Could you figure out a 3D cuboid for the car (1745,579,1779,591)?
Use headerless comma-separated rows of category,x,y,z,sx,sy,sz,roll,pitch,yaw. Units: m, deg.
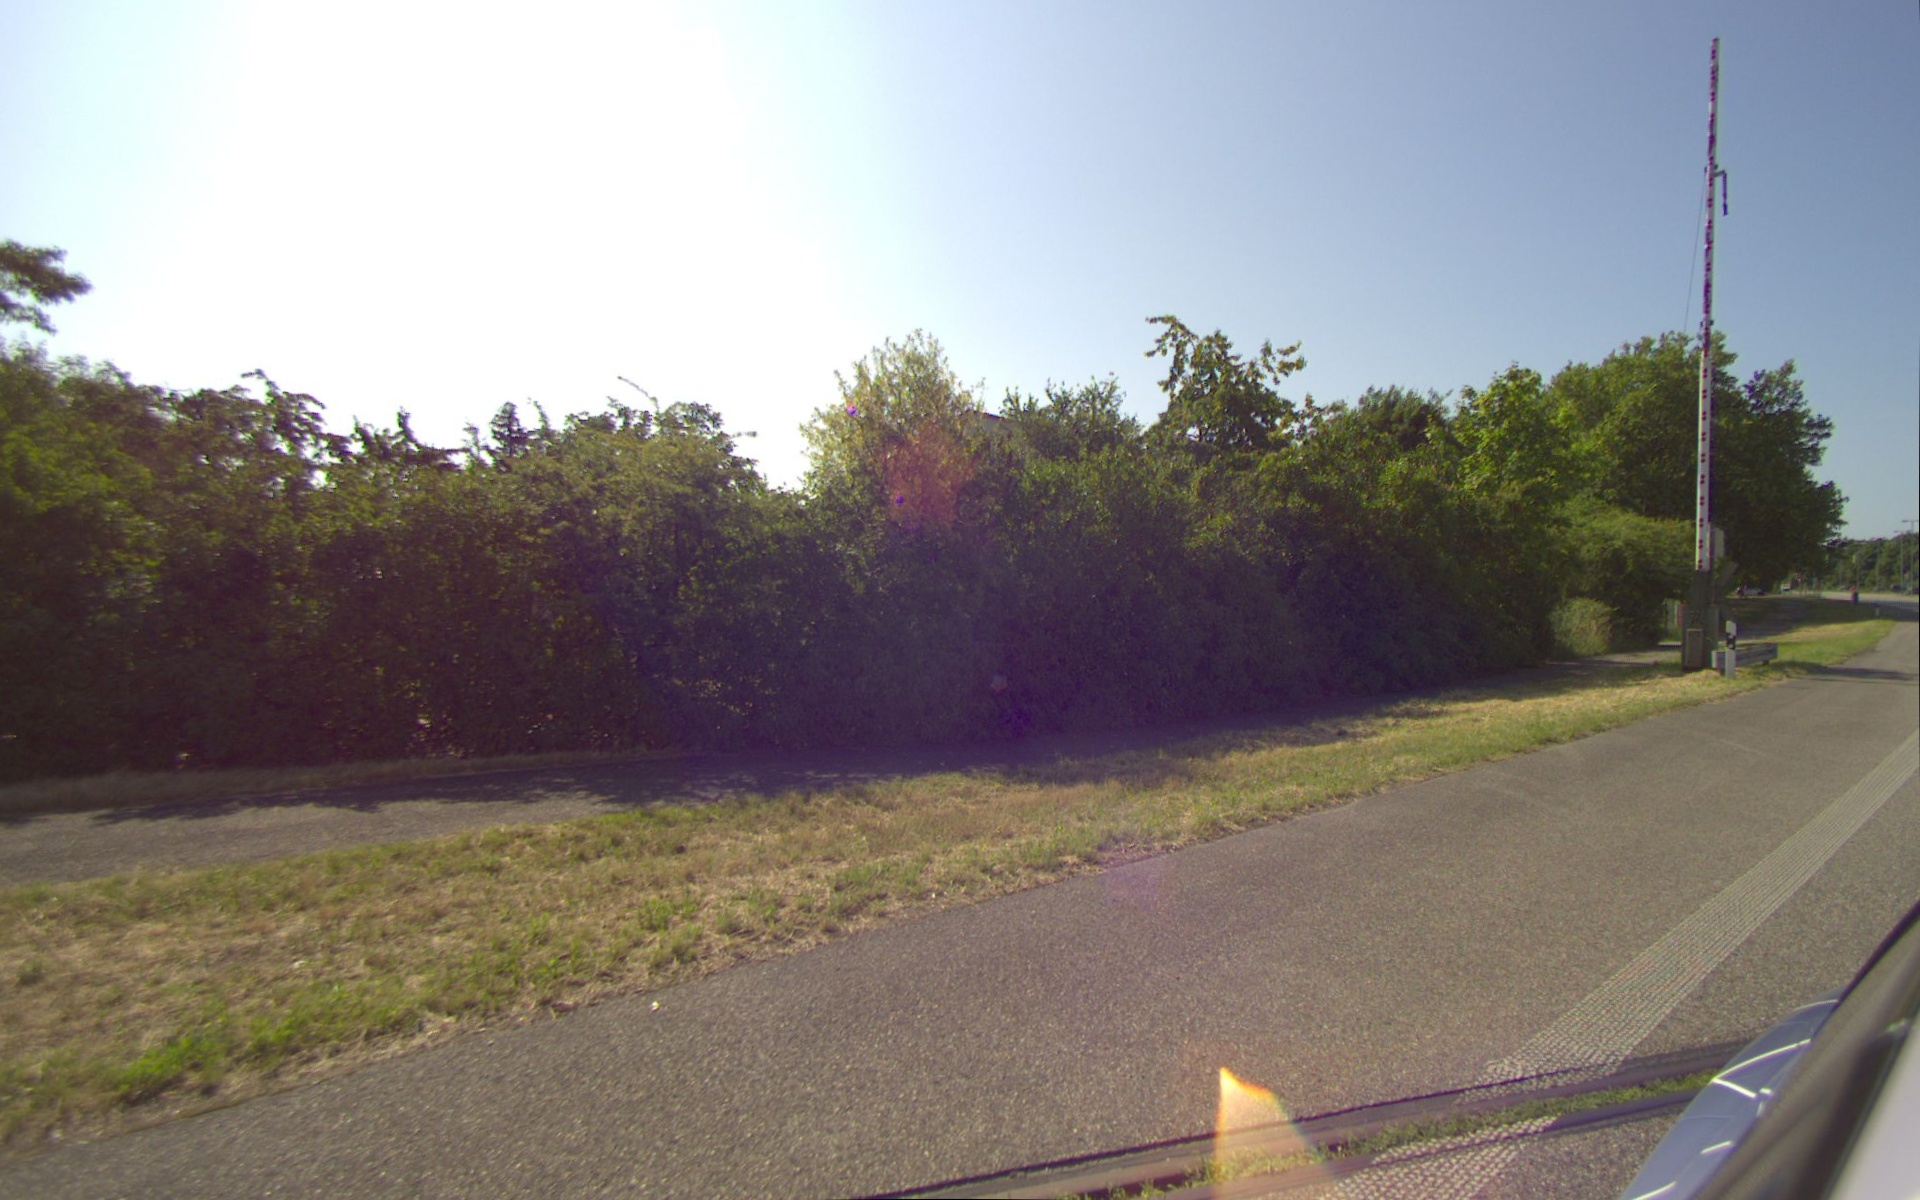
car,125.497,-2.329,158.394,4.041,1.584,1.719,-5,-2,38
